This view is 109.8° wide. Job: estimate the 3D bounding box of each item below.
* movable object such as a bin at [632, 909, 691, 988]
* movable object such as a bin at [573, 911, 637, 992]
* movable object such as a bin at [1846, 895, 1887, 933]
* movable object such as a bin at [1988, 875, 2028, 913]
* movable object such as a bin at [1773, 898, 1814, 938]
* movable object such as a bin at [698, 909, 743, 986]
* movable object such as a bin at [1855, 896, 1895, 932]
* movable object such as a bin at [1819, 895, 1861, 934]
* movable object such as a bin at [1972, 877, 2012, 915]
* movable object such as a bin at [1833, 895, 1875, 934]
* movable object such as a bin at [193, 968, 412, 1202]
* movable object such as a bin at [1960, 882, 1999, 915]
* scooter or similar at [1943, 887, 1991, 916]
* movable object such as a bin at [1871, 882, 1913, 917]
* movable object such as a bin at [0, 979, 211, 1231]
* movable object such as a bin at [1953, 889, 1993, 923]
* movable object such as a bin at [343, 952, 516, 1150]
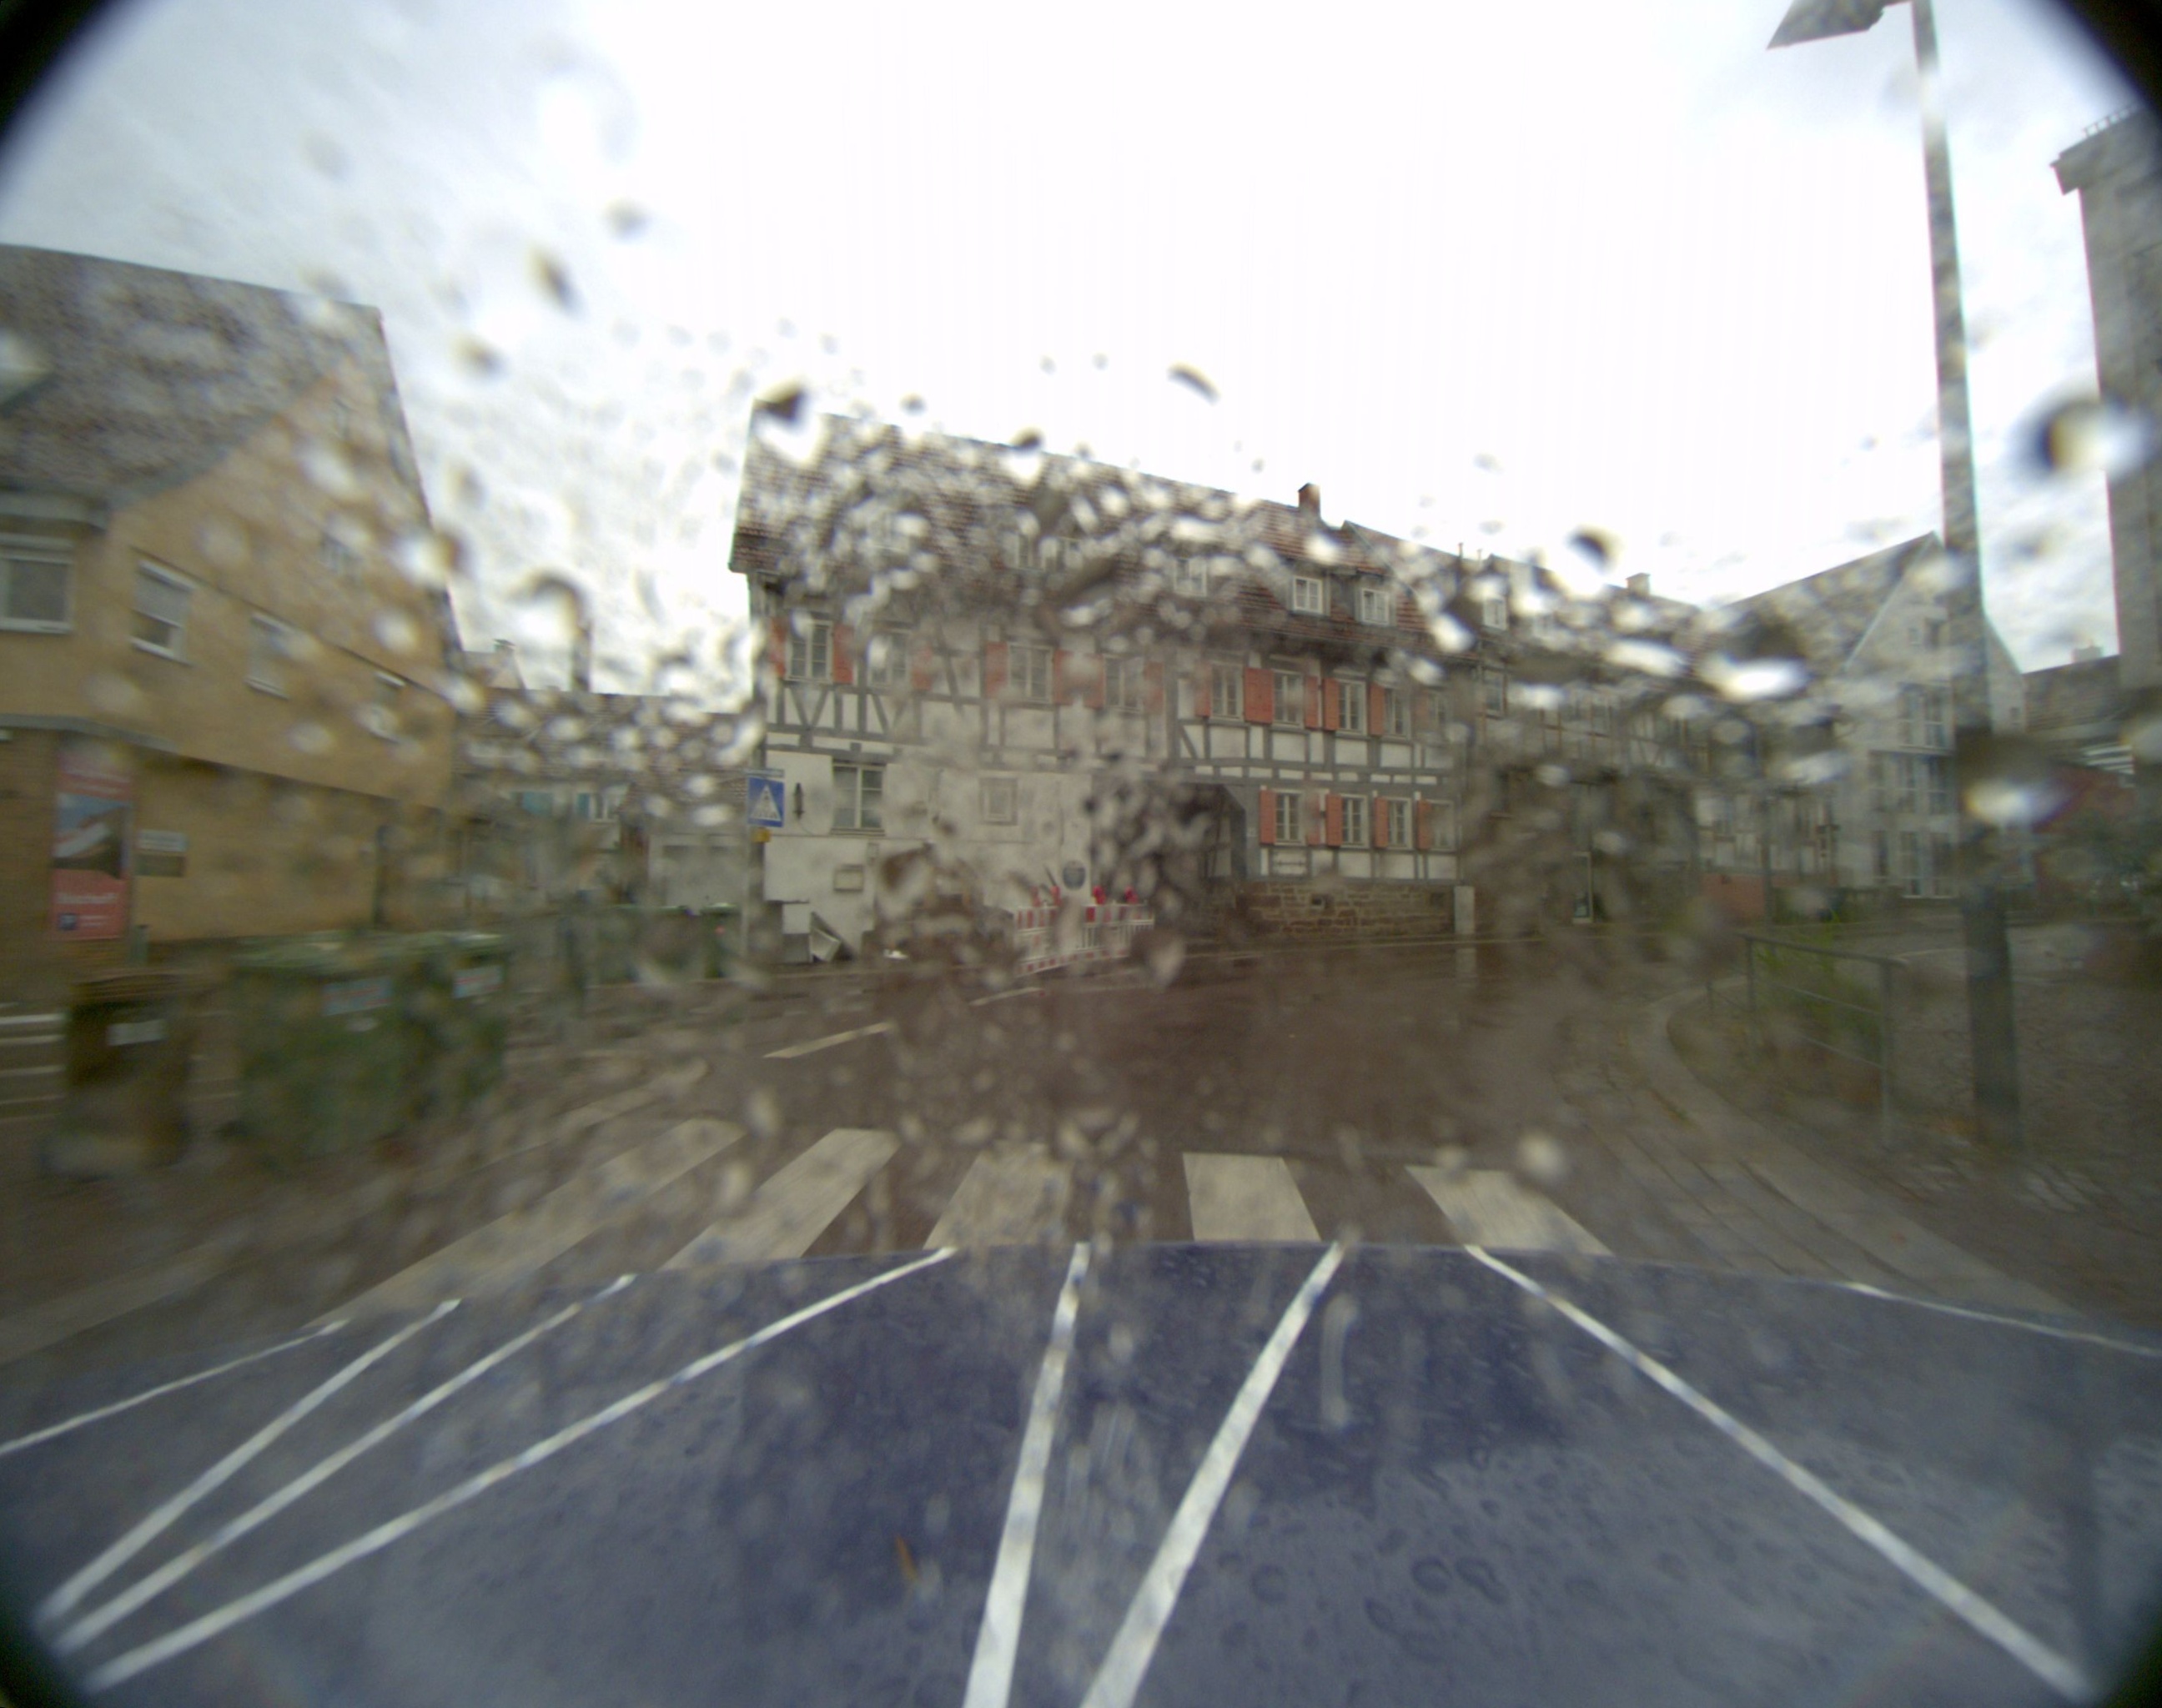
[{"bbox_3d":[-6.037,1.343,10.953,0.539,1.059,0.618,-1,-1,-6],"label":"movable object such as a bin"},{"bbox_3d":[-6.807,1.376,10.902,0.587,1.059,0.680,-1,-1,-15],"label":"movable object such as a bin"},{"bbox_3d":[24.202,1.832,23.412,0.633,1.139,0.639,0,-3,-25],"label":"movable object such as a bin"},{"bbox_3d":[32.507,1.407,26.656,0.632,1.282,0.639,-1,-3,-17],"label":"movable object such as a bin"},{"bbox_3d":[20.505,1.823,21.865,0.600,1.120,0.610,0,-3,-22],"label":"movable object such as a bin"},{"bbox_3d":[-5.326,1.363,11.225,0.541,1.059,0.679,2,-2,-28],"label":"movable object such as a bin"},{"bbox_3d":[24.773,1.855,23.696,0.588,1.074,0.670,-1,-2,-24],"label":"movable object such as a bin"},{"bbox_3d":[22.773,1.799,22.804,0.580,1.139,0.639,-1,-3,-17],"label":"movable object such as a bin"},{"bbox_3d":[31.602,1.456,26.361,0.632,1.282,0.639,-1,-3,-17],"label":"movable object such as a bin"},{"bbox_3d":[23.591,1.841,23.191,0.604,1.139,0.639,-1,-3,-17],"label":"movable object such as a bin"},{"bbox_3d":[-3.968,1.138,3.902,0.571,1.031,0.542,-2,-1,11],"label":"movable object such as a bin"},{"bbox_3d":[30.903,1.523,26.148,0.632,1.124,0.617,-1,-3,-17],"label":"movable object such as a bin"},{"bbox_3d":[36.035,1.921,30.909,1.447,1.138,0.666,-1,-3,-15],"label":"scooter or similar"},{"bbox_3d":[25.738,1.459,24.120,0.651,1.089,0.679,0,-4,-26],"label":"movable object such as a bin"},{"bbox_3d":[-4.678,1.141,3.623,0.566,0.998,0.512,-1,0,20],"label":"movable object such as a bin"},{"bbox_3d":[30.296,1.766,25.814,0.632,1.124,0.617,-1,-3,-18],"label":"movable object such as a bin"},{"bbox_3d":[-3.838,1.130,4.505,0.534,1.026,0.545,-2,0,11],"label":"movable object such as a bin"}]
